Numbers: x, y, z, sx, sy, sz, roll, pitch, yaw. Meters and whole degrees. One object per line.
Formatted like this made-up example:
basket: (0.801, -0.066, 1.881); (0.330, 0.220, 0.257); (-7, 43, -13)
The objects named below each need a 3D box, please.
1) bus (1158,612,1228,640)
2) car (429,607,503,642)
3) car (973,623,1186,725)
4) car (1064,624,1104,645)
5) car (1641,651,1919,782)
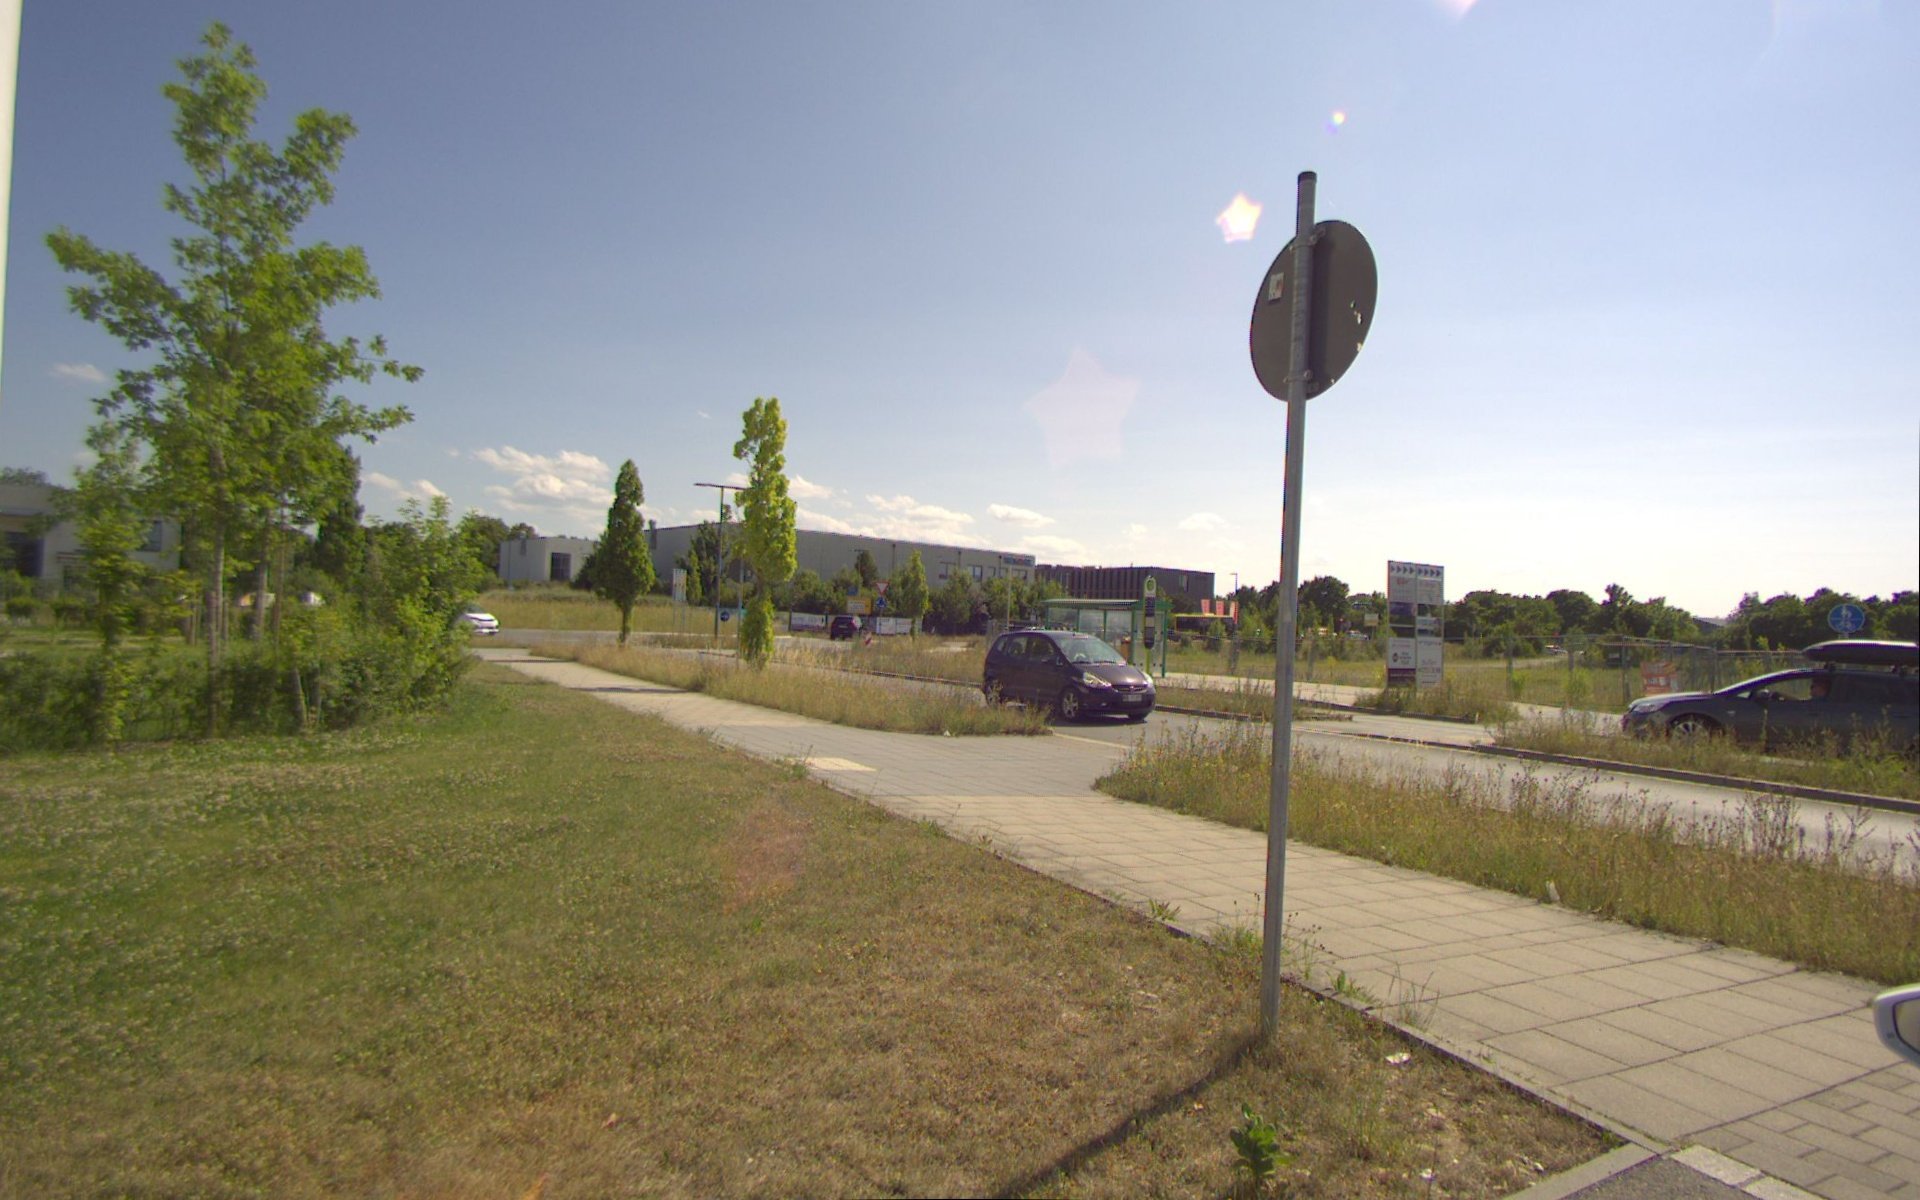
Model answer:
bus: (26.854, 3.044, 115.073); (2.543, 2.771, 11.509); (2, -1, 42)
car: (-22.318, 1.094, 45.414); (2.944, 1.510, 1.478); (0, -1, 25)
car: (2.107, 1.308, 18.729); (1.978, 1.571, 3.810); (3, -1, -32)
car: (12.402, 3.421, 100.113); (1.803, 1.884, 3.976); (3, -1, 45)
car: (12.534, 1.663, 14.742); (4.127, 1.537, 1.994); (3, -1, 35)
